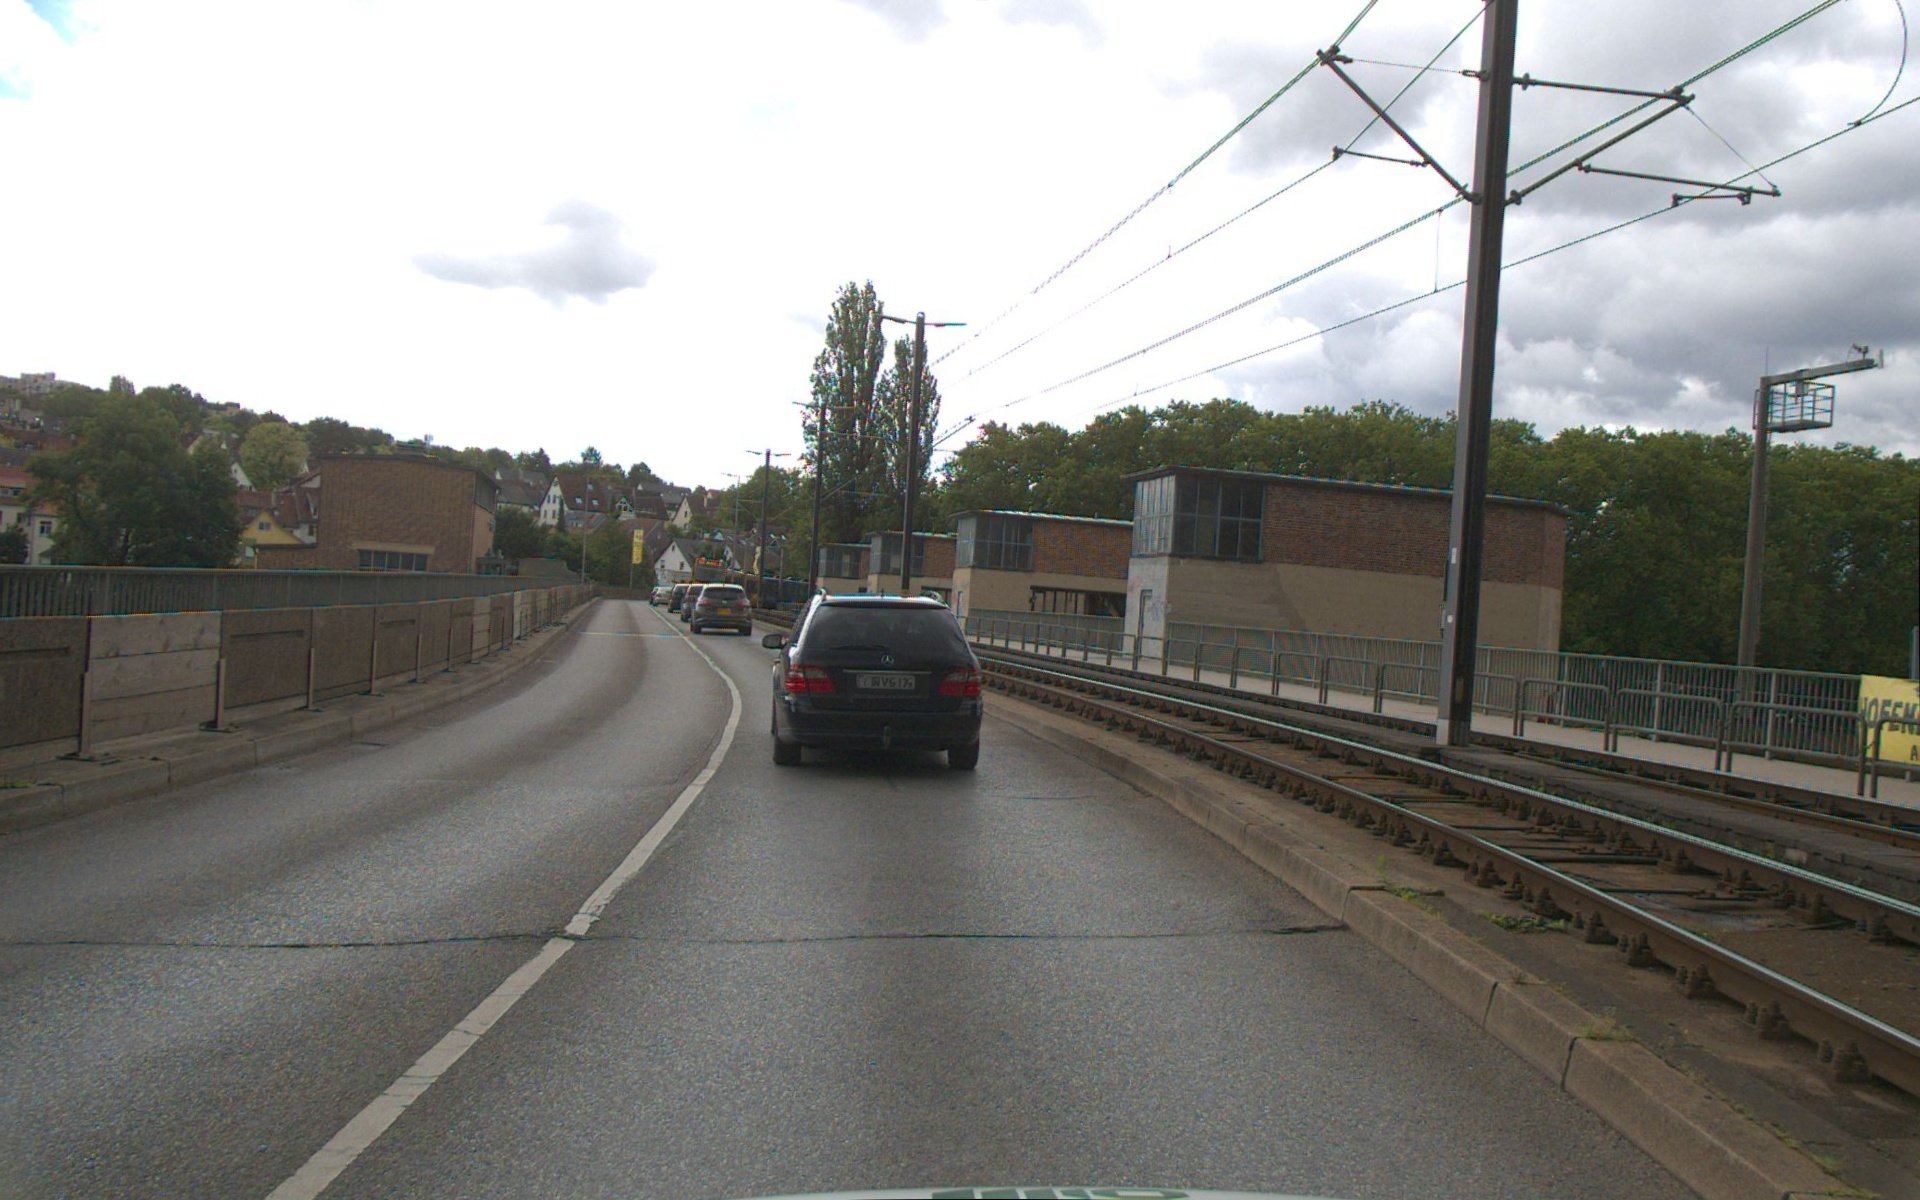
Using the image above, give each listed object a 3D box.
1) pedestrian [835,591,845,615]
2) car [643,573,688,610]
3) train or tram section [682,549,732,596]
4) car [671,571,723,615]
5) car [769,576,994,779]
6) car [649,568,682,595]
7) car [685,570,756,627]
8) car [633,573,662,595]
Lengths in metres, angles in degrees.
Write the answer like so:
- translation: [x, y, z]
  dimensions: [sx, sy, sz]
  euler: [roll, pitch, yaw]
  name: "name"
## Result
- translation: [-8.507, 0.220, 117.209]
  dimensions: [0.567, 1.638, 0.611]
  euler: [3, -1, -11]
  name: "pedestrian"
- translation: [-14.992, -0.456, 84.117]
  dimensions: [1.960, 1.702, 4.525]
  euler: [1, 1, -14]
  name: "car"
- translation: [-21.090, -2.241, 137.018]
  dimensions: [2.832, 3.570, 18.610]
  euler: [2, 0, -12]
  name: "train or tram section"
- translation: [-10.550, -0.318, 66.414]
  dimensions: [1.957, 1.591, 4.987]
  euler: [1, 2, -9]
  name: "car"
- translation: [-0.779, 0.595, 15.374]
  dimensions: [1.724, 1.542, 4.439]
  euler: [3, 0, -4]
  name: "car"
- translation: [-19.554, -1.213, 109.688]
  dimensions: [1.958, 1.598, 4.892]
  euler: [4, 0, -11]
  name: "car"
- translation: [-7.478, -0.075, 51.353]
  dimensions: [1.740, 1.582, 4.226]
  euler: [3, 0, -14]
  name: "car"
- translation: [-25.610, -1.357, 135.459]
  dimensions: [1.960, 1.598, 4.888]
  euler: [4, 0, -14]
  name: "car"
